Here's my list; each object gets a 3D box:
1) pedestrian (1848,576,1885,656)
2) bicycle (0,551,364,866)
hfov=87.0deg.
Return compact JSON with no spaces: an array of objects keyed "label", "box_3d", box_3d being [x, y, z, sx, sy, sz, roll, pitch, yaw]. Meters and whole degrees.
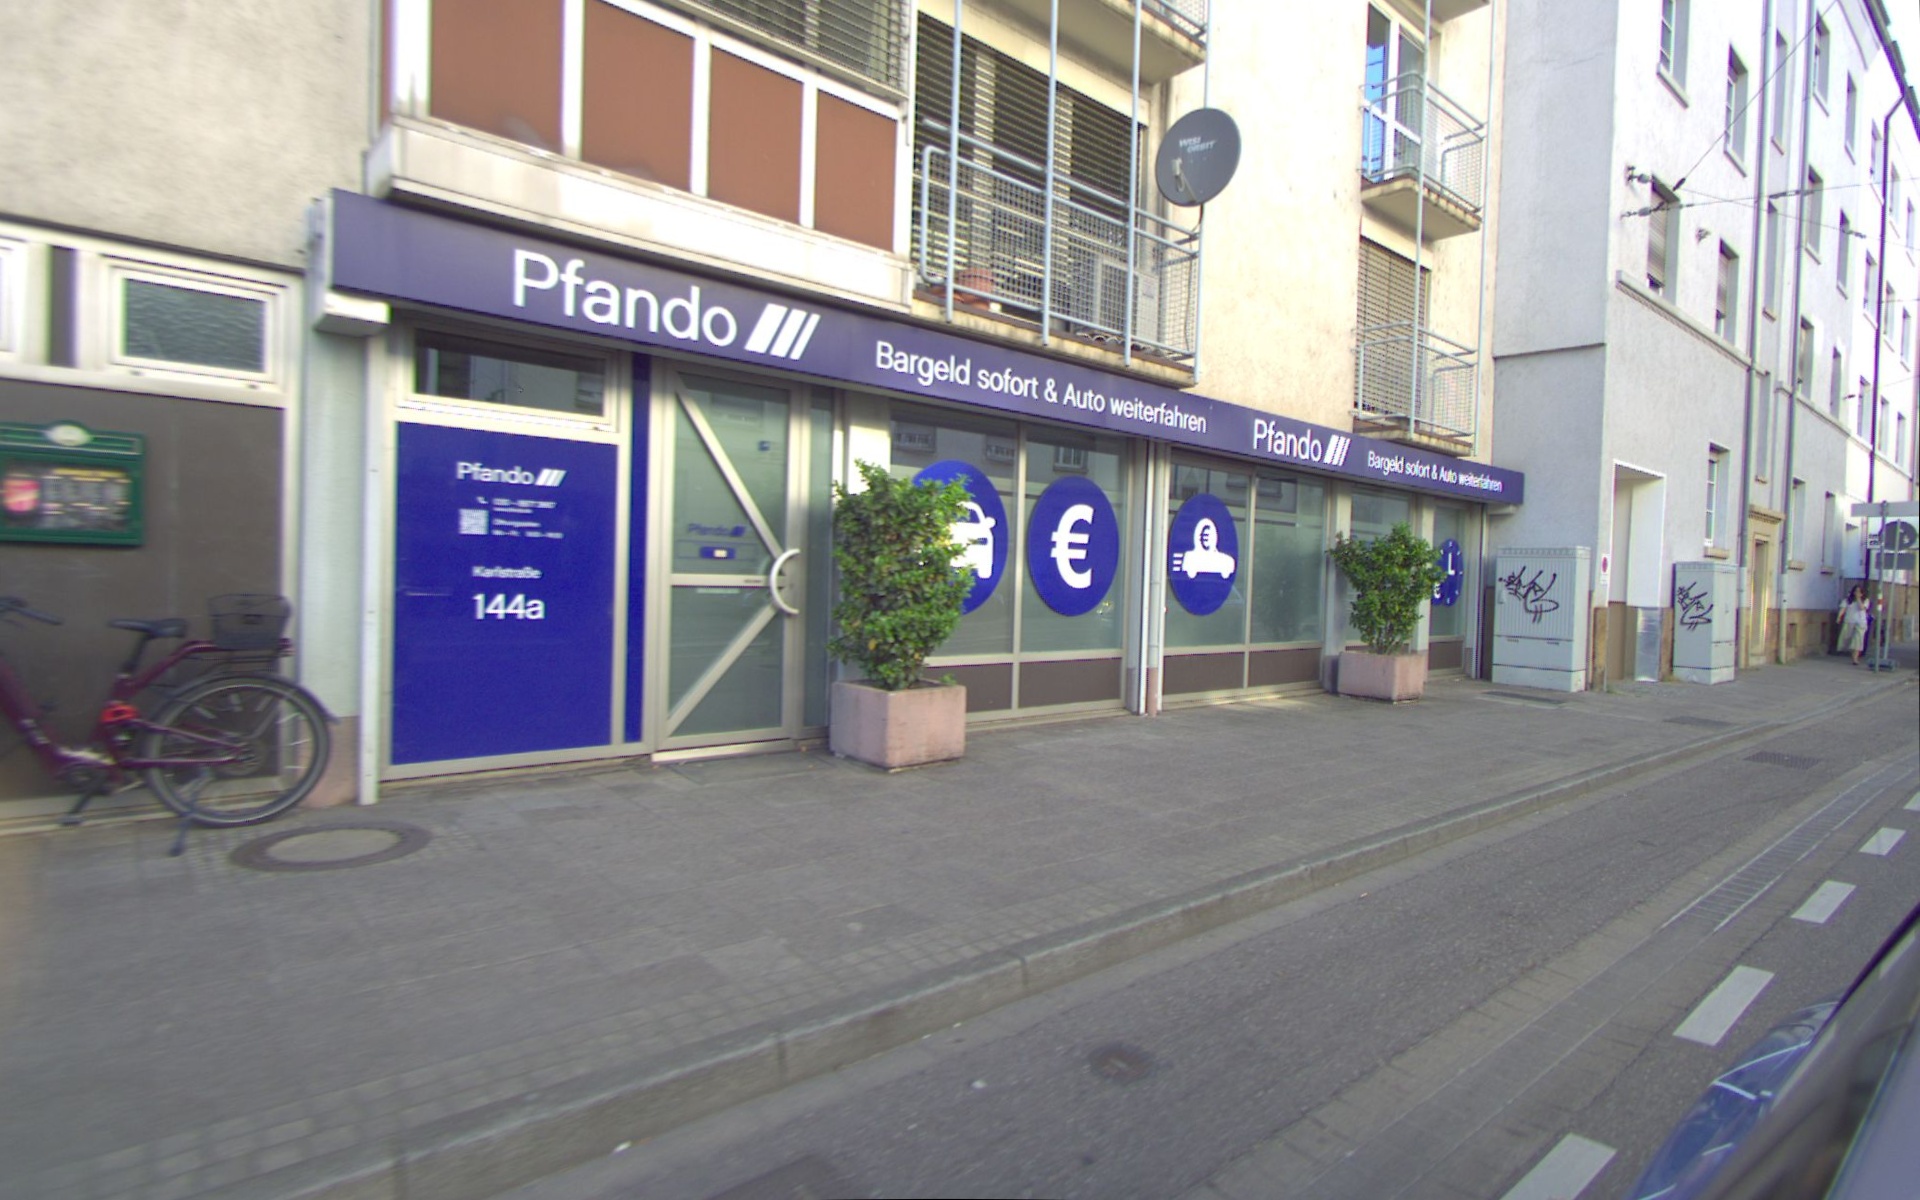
[{"label":"pedestrian","box_3d":[19.266,0.327,21.511,0.459,1.649,0.475,0,2,-39]},{"label":"bicycle","box_3d":[-3.502,0.396,4.172,1.746,1.176,0.497,-1,2,-41]}]
